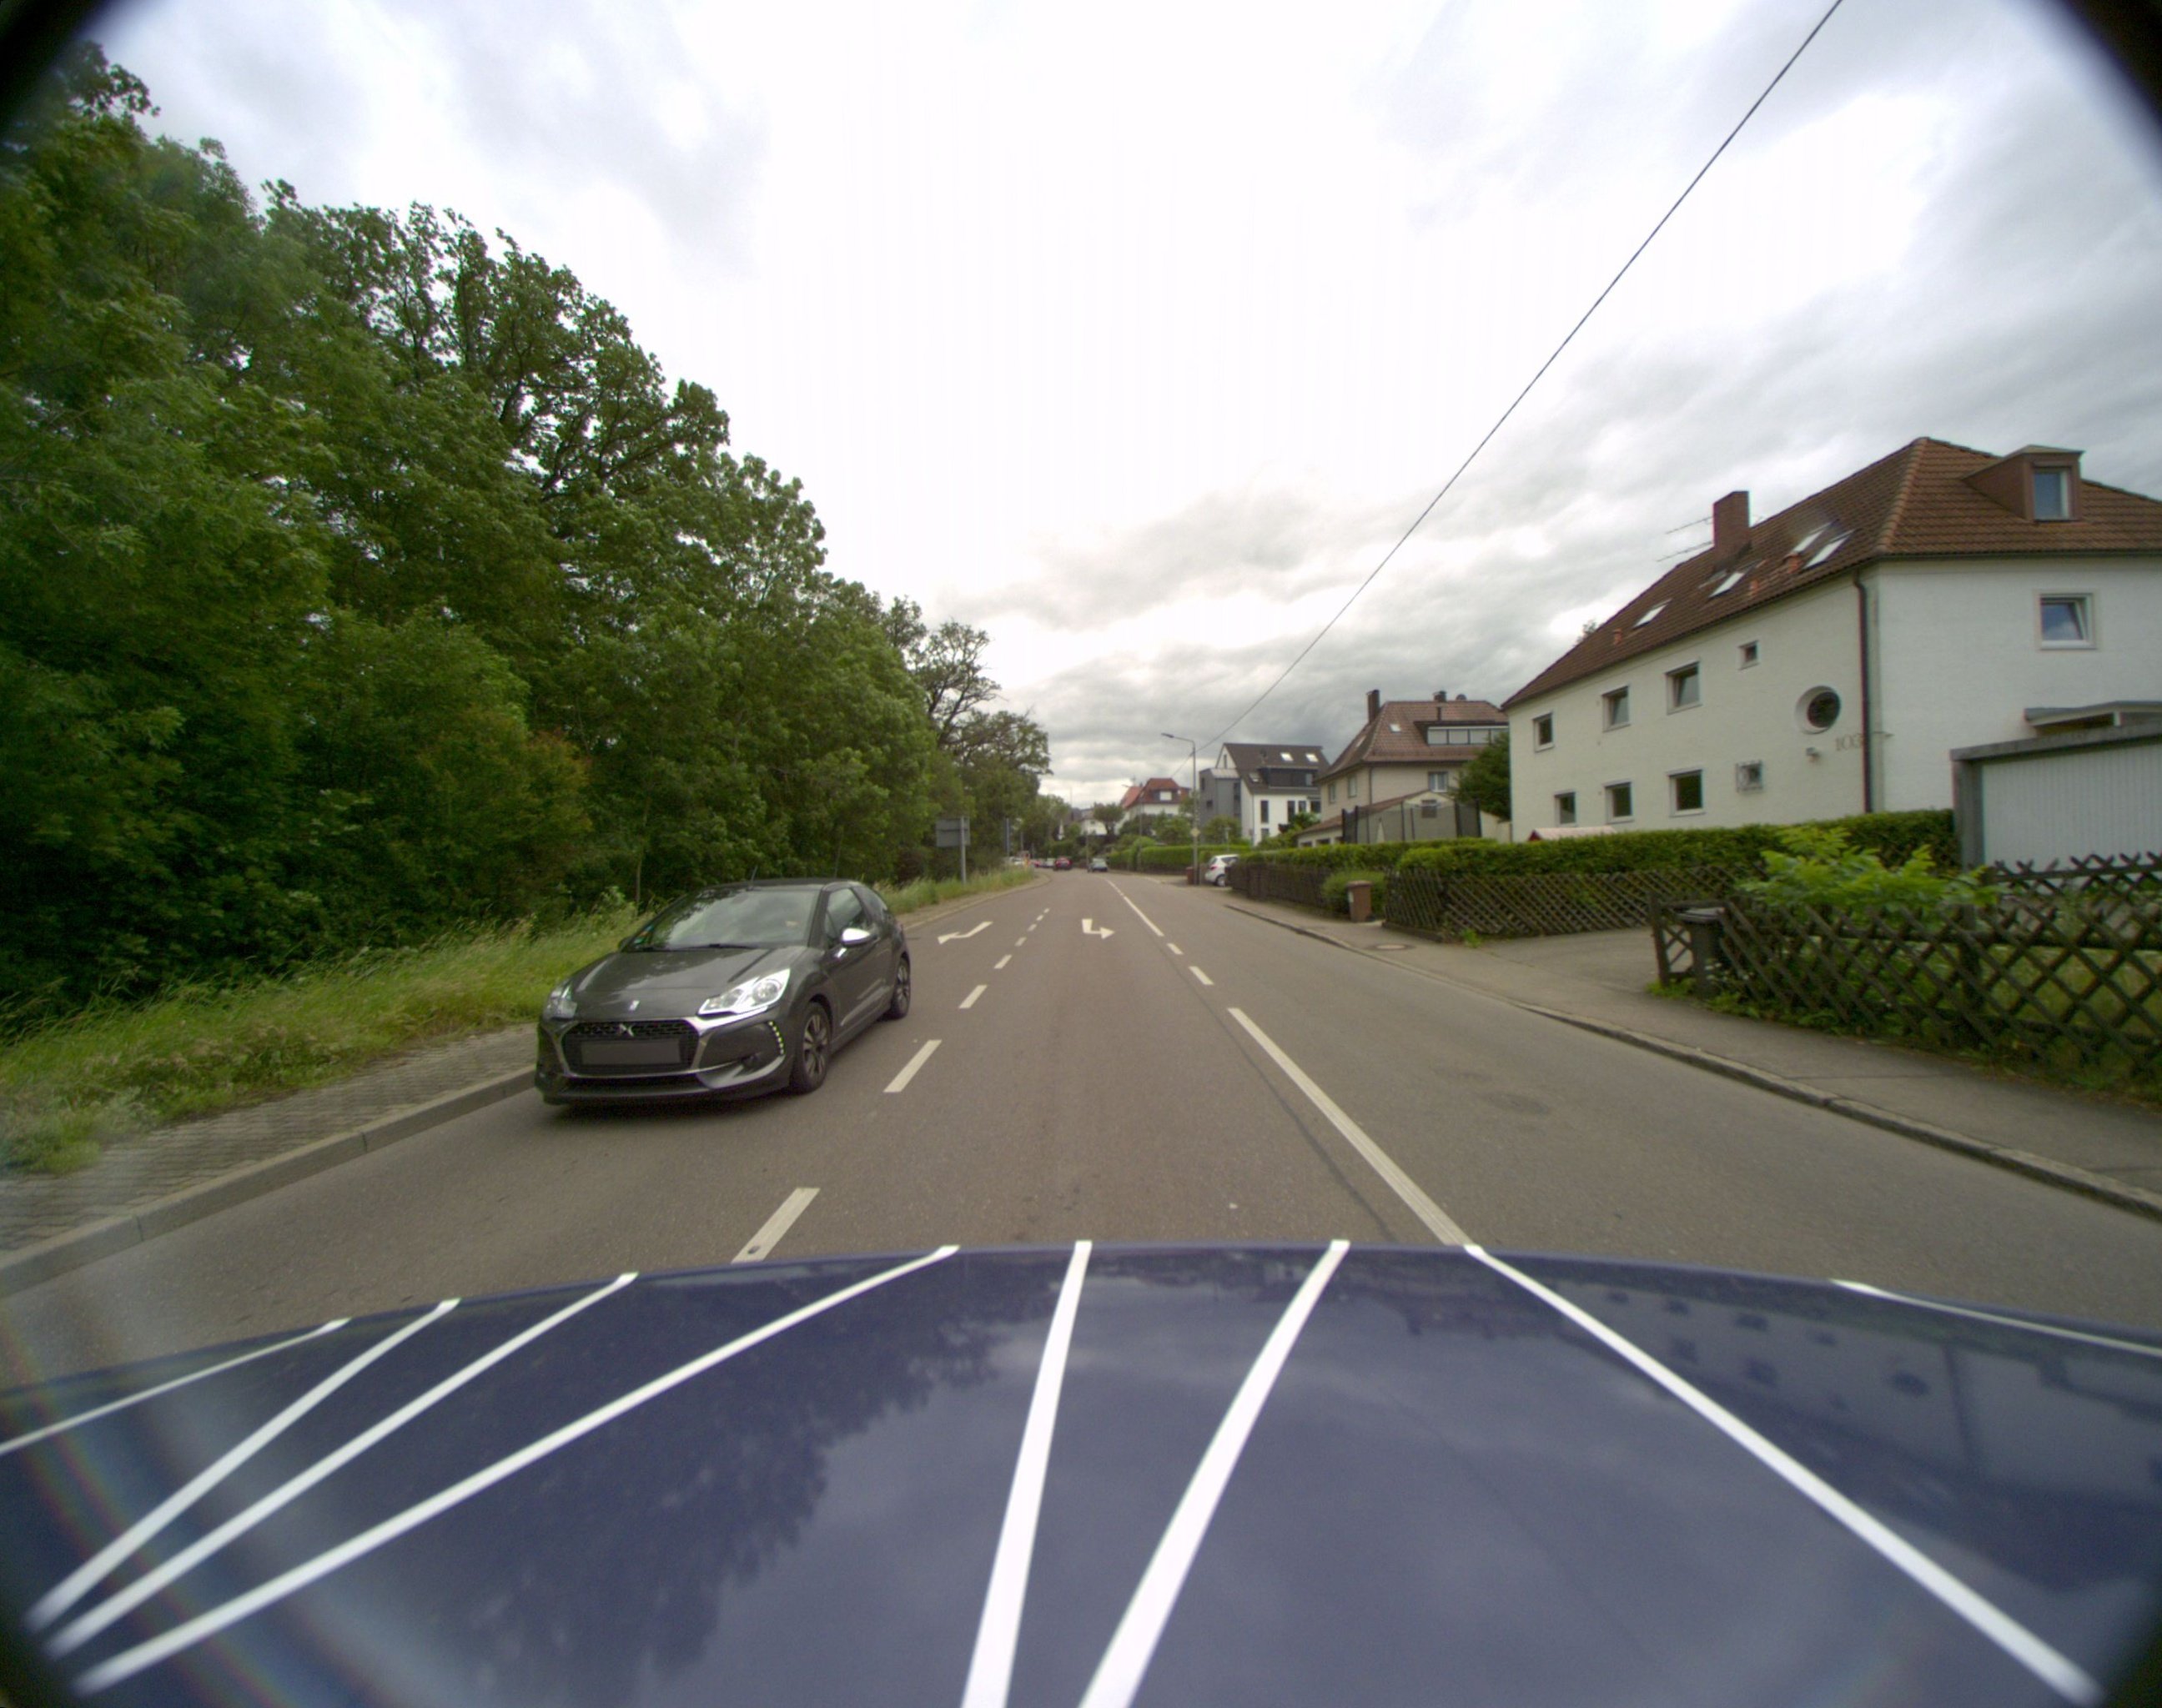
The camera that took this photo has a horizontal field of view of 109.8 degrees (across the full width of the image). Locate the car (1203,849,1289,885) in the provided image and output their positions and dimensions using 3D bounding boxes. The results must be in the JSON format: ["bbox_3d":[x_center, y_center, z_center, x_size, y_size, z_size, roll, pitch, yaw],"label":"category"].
[{"bbox_3d":[8.409,0.636,38.908,3.997,1.584,1.718,-3,0,1],"label":"car"}]

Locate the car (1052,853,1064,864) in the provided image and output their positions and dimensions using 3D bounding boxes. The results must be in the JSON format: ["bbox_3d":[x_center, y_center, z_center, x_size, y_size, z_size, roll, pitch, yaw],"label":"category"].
[{"bbox_3d":[-3.730,0.723,121.955,1.832,1.665,3.997,-1,1,-4],"label":"car"}]

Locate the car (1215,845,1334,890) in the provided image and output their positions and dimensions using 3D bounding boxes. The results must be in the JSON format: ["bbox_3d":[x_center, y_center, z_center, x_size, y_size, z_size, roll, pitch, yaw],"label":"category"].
[{"bbox_3d":[8.457,0.572,33.524,4.682,1.660,1.882,-3,0,-1],"label":"car"}]

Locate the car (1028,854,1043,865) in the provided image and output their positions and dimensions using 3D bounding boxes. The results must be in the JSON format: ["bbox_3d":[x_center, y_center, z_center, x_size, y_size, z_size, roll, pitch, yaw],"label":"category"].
[{"bbox_3d":[-7.489,0.843,125.117,2.000,1.749,3.996,-1,0,-10],"label":"car"}]

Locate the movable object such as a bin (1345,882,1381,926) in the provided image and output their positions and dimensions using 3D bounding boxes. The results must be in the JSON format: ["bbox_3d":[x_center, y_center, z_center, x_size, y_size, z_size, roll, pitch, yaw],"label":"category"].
[{"bbox_3d":[6.222,1.093,16.785,0.634,0.907,0.561,-3,0,11],"label":"movable object such as a bin"}]

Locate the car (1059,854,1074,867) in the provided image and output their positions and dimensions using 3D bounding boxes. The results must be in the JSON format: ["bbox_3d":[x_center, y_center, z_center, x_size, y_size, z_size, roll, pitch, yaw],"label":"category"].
[{"bbox_3d":[-1.888,0.807,99.108,1.818,1.590,3.955,-1,0,-4],"label":"car"}]

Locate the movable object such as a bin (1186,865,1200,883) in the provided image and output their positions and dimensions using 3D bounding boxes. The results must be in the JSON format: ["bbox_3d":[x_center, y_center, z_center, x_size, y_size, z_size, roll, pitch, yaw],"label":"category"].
[{"bbox_3d":[6.211,1.089,41.981,0.689,0.948,0.572,-1,1,15],"label":"movable object such as a bin"}]

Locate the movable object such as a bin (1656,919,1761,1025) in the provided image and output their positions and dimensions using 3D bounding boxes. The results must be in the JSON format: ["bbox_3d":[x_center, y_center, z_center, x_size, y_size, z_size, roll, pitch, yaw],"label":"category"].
[{"bbox_3d":[6.052,1.124,7.351,0.551,0.932,0.538,-1,0,2],"label":"movable object such as a bin"}]

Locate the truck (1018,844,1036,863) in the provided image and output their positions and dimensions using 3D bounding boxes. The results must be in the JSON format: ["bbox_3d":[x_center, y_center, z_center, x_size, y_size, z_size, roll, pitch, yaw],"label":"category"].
[{"bbox_3d":[-11.178,-0.102,156.485,3.008,3.618,7.083,-1,0,-8],"label":"truck"}]

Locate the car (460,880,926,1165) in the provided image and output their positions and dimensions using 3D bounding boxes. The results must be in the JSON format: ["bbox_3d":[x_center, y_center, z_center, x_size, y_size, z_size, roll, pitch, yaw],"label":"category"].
[{"bbox_3d":[-2.629,1.039,6.297,1.730,1.449,3.855,-2,0,2],"label":"car"}]

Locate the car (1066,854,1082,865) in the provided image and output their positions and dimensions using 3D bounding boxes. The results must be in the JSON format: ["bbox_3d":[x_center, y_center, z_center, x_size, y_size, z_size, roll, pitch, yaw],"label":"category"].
[{"bbox_3d":[-1.035,0.800,108.353,1.876,1.569,3.997,-1,0,-8],"label":"car"}]

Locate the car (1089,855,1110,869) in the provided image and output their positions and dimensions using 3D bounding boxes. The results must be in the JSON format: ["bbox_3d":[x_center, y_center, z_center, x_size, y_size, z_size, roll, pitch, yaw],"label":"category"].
[{"bbox_3d":[2.010,0.880,84.357,1.840,1.514,3.998,-1,0,-5],"label":"car"}]
